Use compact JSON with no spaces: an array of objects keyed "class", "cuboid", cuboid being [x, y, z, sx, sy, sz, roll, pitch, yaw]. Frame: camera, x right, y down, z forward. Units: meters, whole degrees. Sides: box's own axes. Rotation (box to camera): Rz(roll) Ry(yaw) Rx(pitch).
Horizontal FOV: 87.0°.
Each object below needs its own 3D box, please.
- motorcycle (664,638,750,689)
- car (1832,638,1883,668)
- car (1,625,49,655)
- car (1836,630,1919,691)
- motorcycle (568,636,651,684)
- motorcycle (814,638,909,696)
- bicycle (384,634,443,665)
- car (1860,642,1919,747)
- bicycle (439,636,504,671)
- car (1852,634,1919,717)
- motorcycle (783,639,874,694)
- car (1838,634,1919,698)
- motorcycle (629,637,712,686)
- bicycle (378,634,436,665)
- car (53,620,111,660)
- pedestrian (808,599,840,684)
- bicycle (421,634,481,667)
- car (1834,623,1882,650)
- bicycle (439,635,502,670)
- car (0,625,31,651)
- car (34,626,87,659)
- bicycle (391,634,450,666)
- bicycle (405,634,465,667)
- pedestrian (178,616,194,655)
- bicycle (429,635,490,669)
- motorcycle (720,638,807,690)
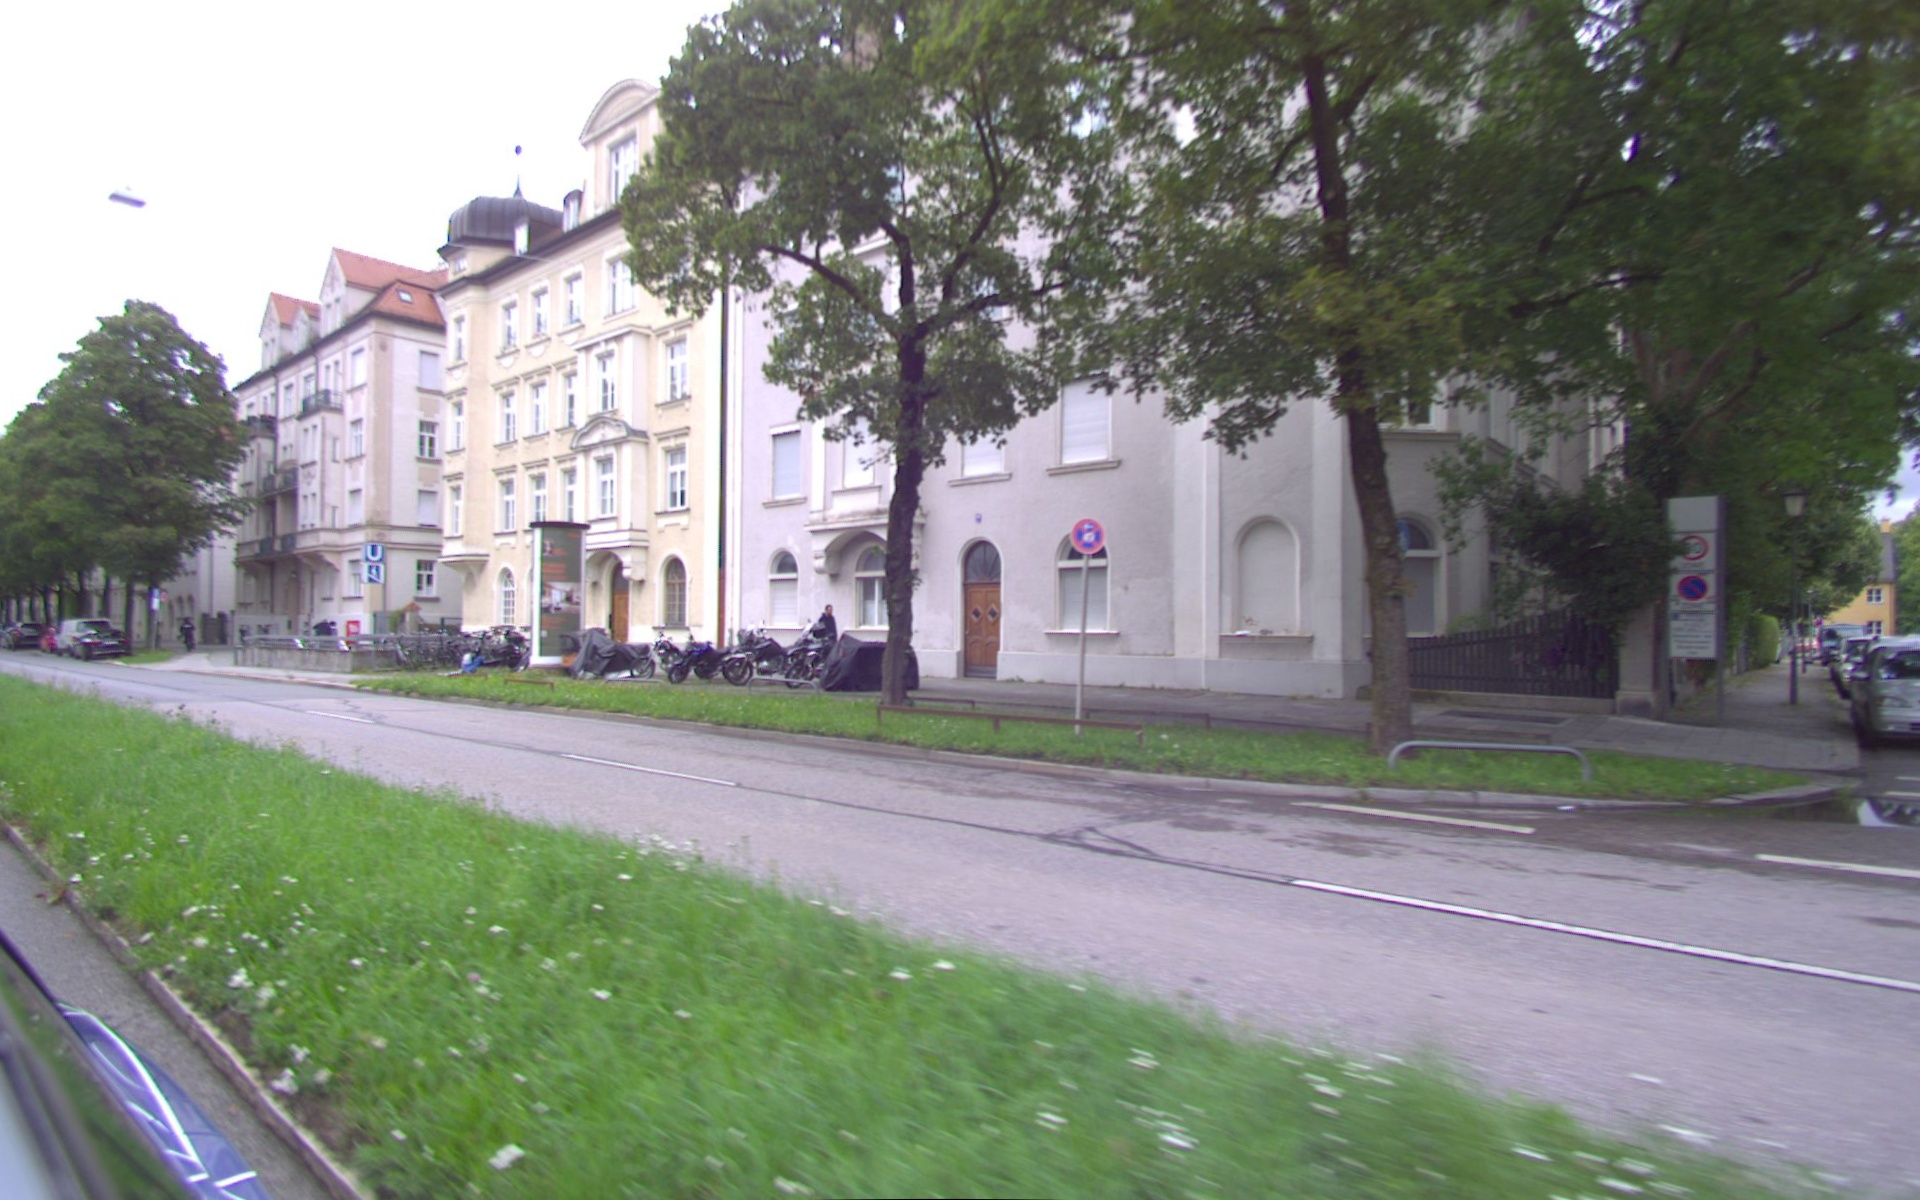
[{"class":"motorcycle","cuboid":[-5.941,1.474,23.840,1.926,1.158,0.597,0,-2,-11]},{"class":"car","cuboid":[47.421,2.762,53.535,1.793,1.496,3.947,-1,-2,39]},{"class":"car","cuboid":[-61.303,2.597,66.341,3.998,1.852,1.848,-2,-2,41]},{"class":"car","cuboid":[27.233,1.742,29.964,1.793,1.660,3.947,-1,-2,39]},{"class":"motorcycle","cuboid":[-8.899,1.514,25.732,1.924,1.158,0.598,1,-2,-29]},{"class":"motorcycle","cuboid":[-2.061,1.386,21.107,1.926,1.158,0.597,0,-2,-11]},{"class":"bicycle","cuboid":[-20.652,1.862,38.277,1.924,1.158,0.598,1,-2,-29]},{"class":"car","cuboid":[14.394,1.313,14.681,1.793,1.332,3.947,-1,-2,39]},{"class":"bicycle","cuboid":[-16.566,1.809,34.335,1.924,1.158,0.598,1,-2,-29]},{"class":"car","cuboid":[18.967,1.432,20.014,1.793,1.496,3.947,-1,-2,39]},{"class":"motorcycle","cuboid":[-2.877,1.434,22.144,1.926,1.158,0.597,0,-2,-11]},{"class":"car","cuboid":[23.740,1.638,25.863,1.793,1.496,3.947,-1,-2,39]},{"class":"motorcycle","cuboid":[-7.072,1.489,24.782,1.926,1.158,0.597,0,-2,-11]},{"class":"bicycle","cuboid":[-21.182,1.869,38.765,1.924,1.158,0.598,1,-2,-29]},{"class":"car","cuboid":[-46.351,2.086,53.429,3.998,2.029,1.767,-2,-2,41]},{"class":"pedestrian","cuboid":[-3.400,1.025,25.295,0.590,2.075,0.686,1,-2,-30]},{"class":"bicycle","cuboid":[-18.481,1.835,36.753,1.924,1.158,0.598,1,-2,-29]},{"class":"car","cuboid":[50.474,2.032,56.921,1.793,1.496,3.947,-1,-2,39]},{"class":"bicycle","cuboid":[-16.907,1.813,34.961,1.924,1.158,0.598,1,-2,-29]},{"class":"car","cuboid":[-67.843,2.690,72.232,3.998,1.852,1.848,-2,-2,41]},{"class":"car","cuboid":[-52.999,2.475,59.600,3.998,1.852,1.848,-2,-2,41]},{"class":"bicycle","cuboid":[-20.123,1.857,37.794,1.924,1.158,0.598,1,-2,-29]},{"class":"bicycle","cuboid":[-19.380,1.845,37.354,1.924,1.158,0.598,1,-2,-29]},{"class":"pedestrian","cuboid":[-40.809,1.867,53.350,0.631,2.058,0.739,1,-2,-38]},{"class":"bicycle","cuboid":[-17.710,1.823,35.816,1.924,1.158,0.598,1,-2,-29]},{"class":"motorcycle","cuboid":[-4.479,1.454,23.141,1.926,1.158,0.597,0,-2,-11]}]
